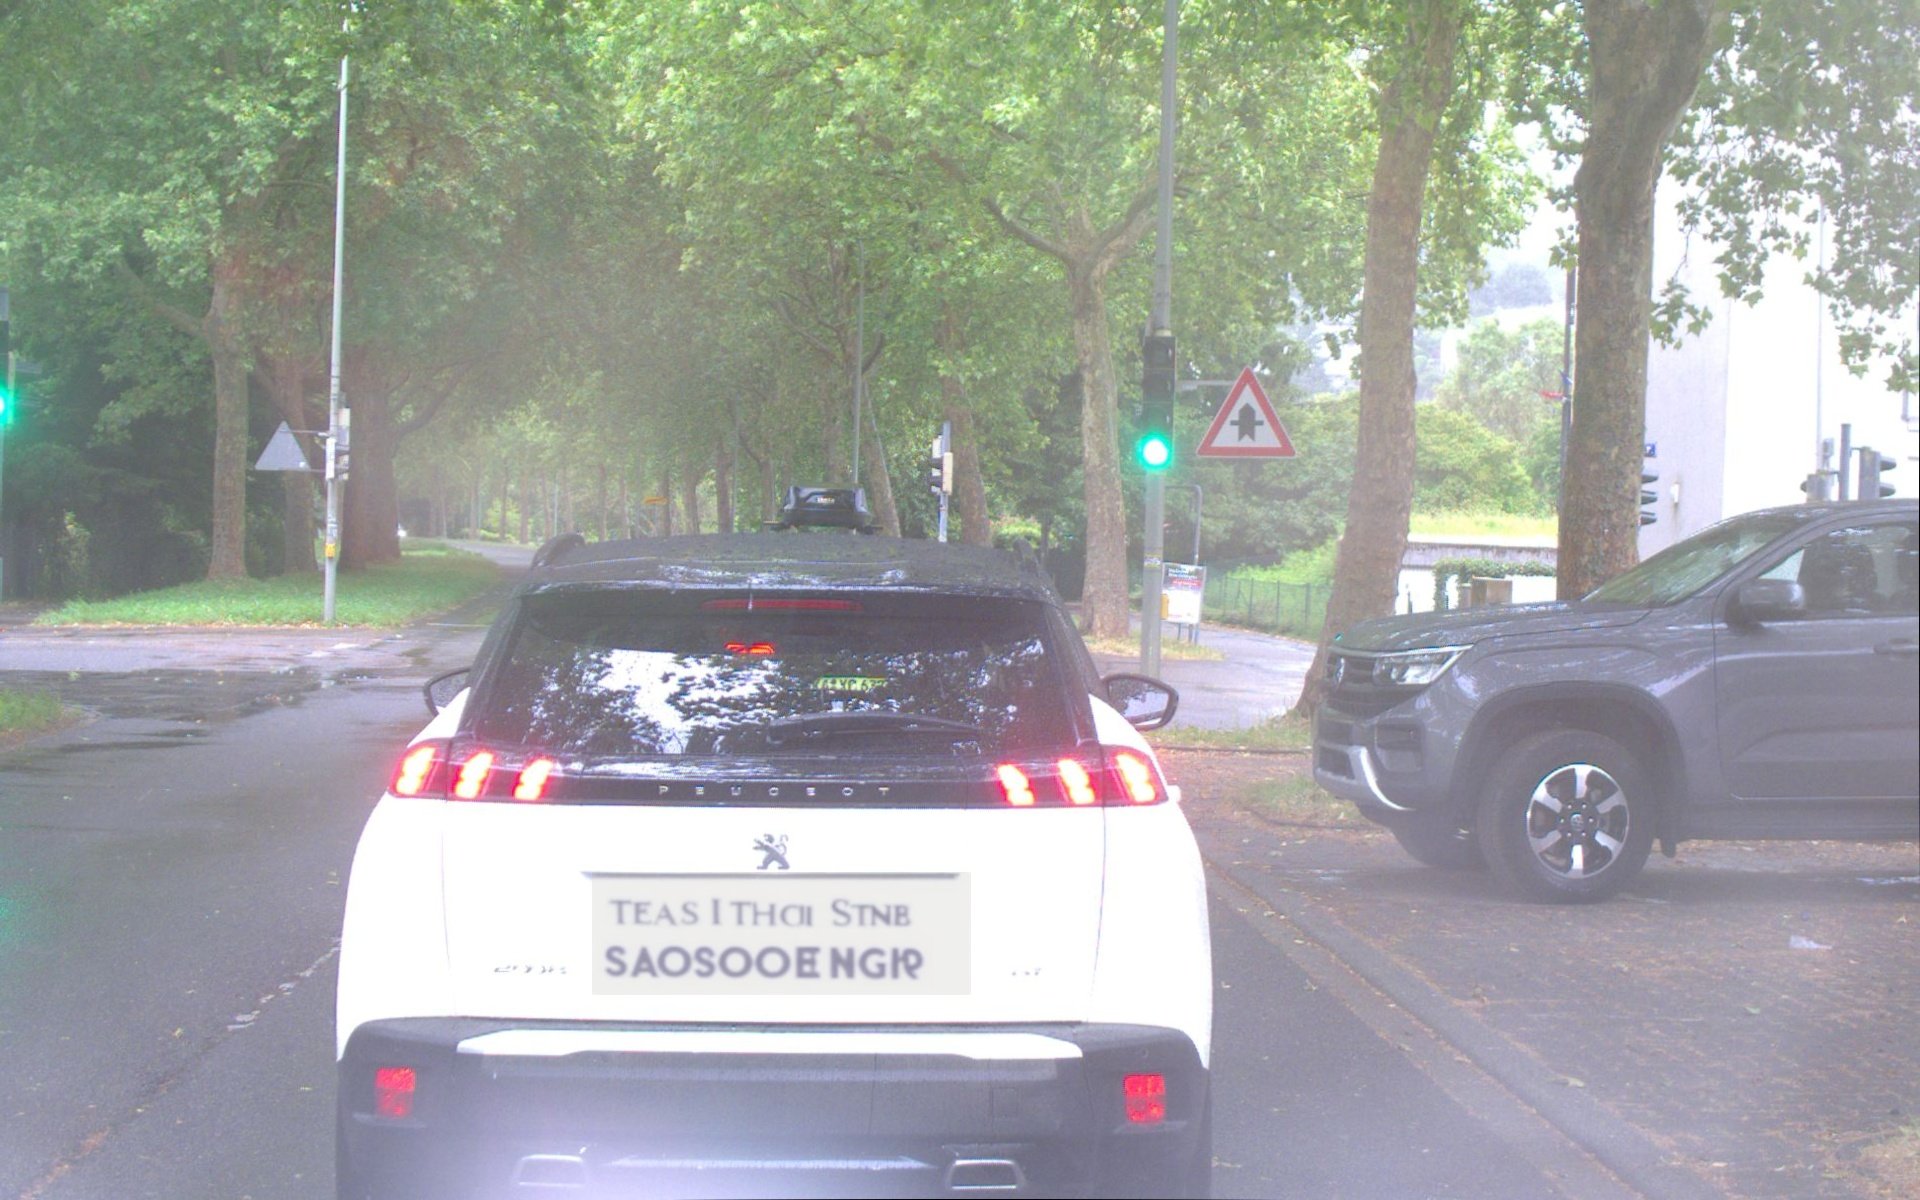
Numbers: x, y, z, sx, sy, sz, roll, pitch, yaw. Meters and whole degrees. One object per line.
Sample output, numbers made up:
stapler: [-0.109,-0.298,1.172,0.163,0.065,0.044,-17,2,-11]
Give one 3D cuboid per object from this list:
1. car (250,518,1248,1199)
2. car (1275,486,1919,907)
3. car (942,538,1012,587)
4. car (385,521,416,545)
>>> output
car: [-0.421,0.591,8.245,1.780,1.531,4.058,1,1,-1]
car: [4.294,0.426,15.979,5.337,1.800,1.846,1,1,-7]
car: [0.532,-1.219,111.616,1.905,1.504,3.932,2,1,-5]
car: [-41.298,-4.957,253.861,1.873,1.671,3.709,2,1,-5]
